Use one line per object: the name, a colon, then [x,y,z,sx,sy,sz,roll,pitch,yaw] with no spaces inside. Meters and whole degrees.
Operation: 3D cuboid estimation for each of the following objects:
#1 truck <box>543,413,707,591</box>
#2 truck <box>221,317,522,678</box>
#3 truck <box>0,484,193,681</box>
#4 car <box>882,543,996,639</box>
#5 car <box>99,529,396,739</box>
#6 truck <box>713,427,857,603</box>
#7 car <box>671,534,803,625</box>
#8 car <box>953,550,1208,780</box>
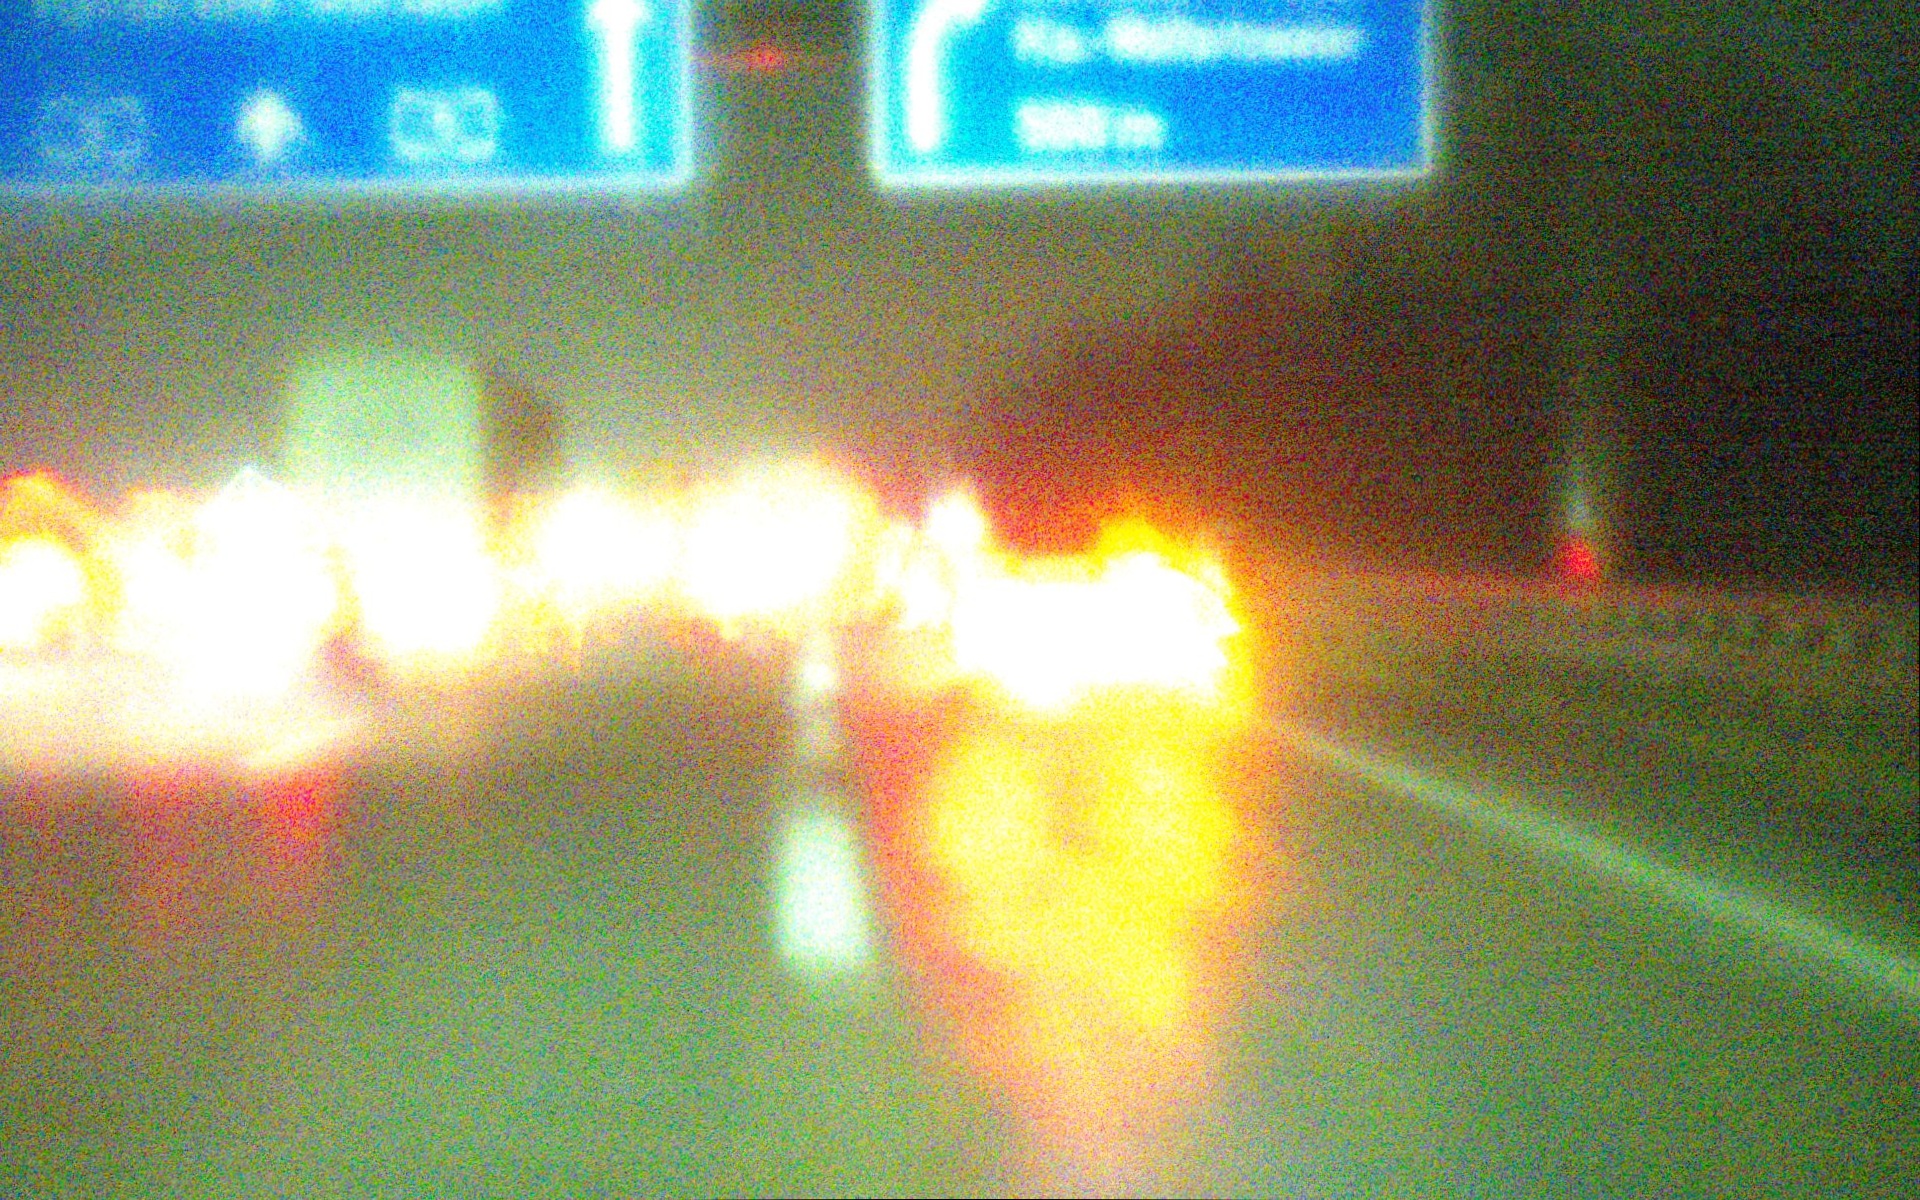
truck: [-10.805,-3.110,112.138,4.254,5.425,10.885,1,1,0]
truck: [-8.426,-1.417,50.547,3.655,4.721,9.854,1,1,-6]
truck: [-11.155,-0.250,41.521,2.856,2.193,5.859,1,1,-5]
car: [-0.434,-0.186,64.144,1.993,1.698,4.459,1,1,-2]
car: [-6.441,0.264,31.552,2.038,1.755,4.516,1,1,-4]
truck: [-5.615,-2.619,108.226,4.161,5.197,9.956,1,1,-5]
car: [-5.162,-0.489,80.414,2.832,2.007,5.511,1,1,-1]
car: [0.935,0.482,28.782,1.878,1.756,4.000,1,1,-1]
